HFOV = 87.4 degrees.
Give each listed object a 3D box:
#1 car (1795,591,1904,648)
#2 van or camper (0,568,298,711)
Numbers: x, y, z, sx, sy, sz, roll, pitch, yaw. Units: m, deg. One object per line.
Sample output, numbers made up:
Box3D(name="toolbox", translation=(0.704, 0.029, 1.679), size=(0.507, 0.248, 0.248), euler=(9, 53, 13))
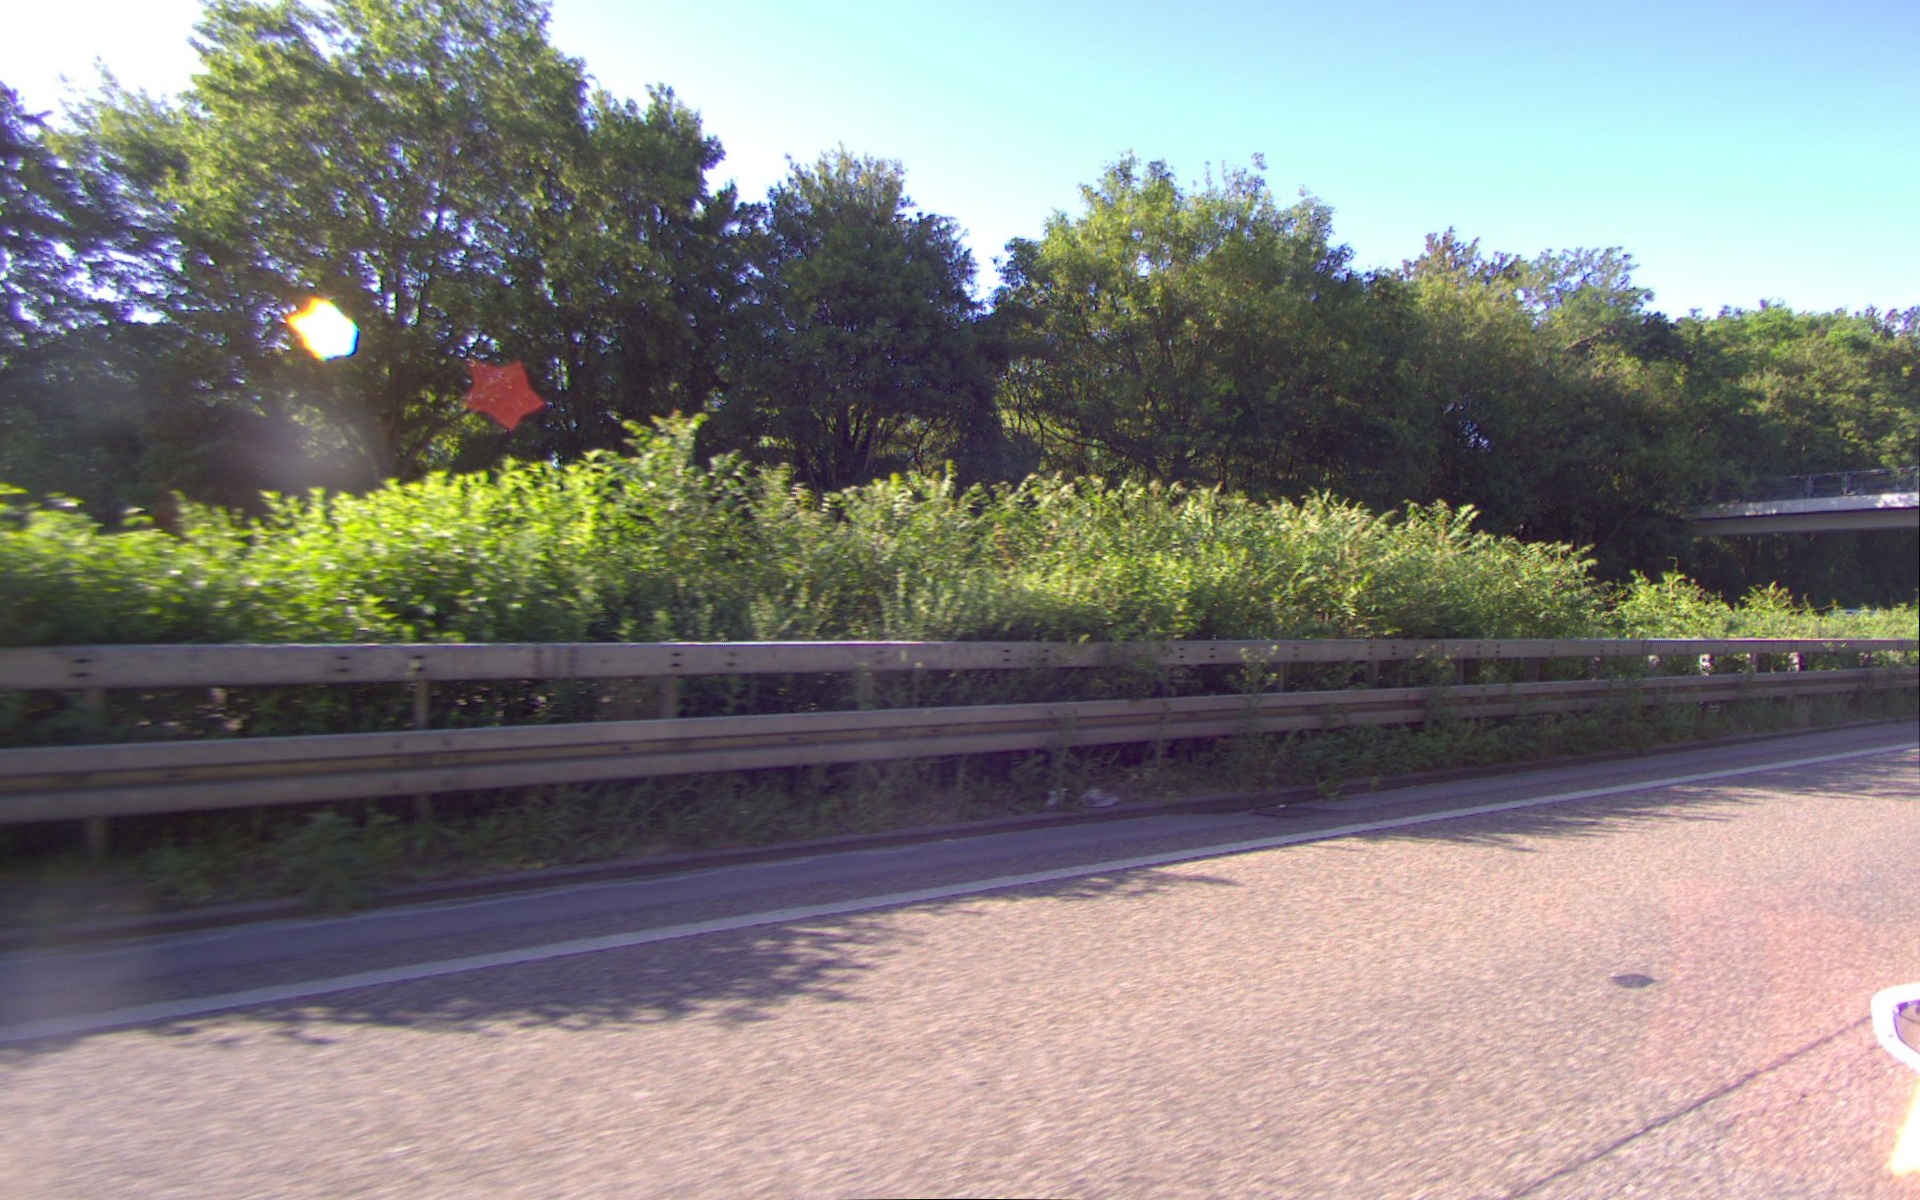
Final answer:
Box3D(name="car", translation=(33.932, 0.740, 38.305), size=(3.954, 2.040, 1.983), euler=(1, 0, -31))
Box3D(name="van or camper", translation=(-13.775, 0.551, 15.404), size=(5.867, 2.041, 1.868), euler=(1, 1, -29))
